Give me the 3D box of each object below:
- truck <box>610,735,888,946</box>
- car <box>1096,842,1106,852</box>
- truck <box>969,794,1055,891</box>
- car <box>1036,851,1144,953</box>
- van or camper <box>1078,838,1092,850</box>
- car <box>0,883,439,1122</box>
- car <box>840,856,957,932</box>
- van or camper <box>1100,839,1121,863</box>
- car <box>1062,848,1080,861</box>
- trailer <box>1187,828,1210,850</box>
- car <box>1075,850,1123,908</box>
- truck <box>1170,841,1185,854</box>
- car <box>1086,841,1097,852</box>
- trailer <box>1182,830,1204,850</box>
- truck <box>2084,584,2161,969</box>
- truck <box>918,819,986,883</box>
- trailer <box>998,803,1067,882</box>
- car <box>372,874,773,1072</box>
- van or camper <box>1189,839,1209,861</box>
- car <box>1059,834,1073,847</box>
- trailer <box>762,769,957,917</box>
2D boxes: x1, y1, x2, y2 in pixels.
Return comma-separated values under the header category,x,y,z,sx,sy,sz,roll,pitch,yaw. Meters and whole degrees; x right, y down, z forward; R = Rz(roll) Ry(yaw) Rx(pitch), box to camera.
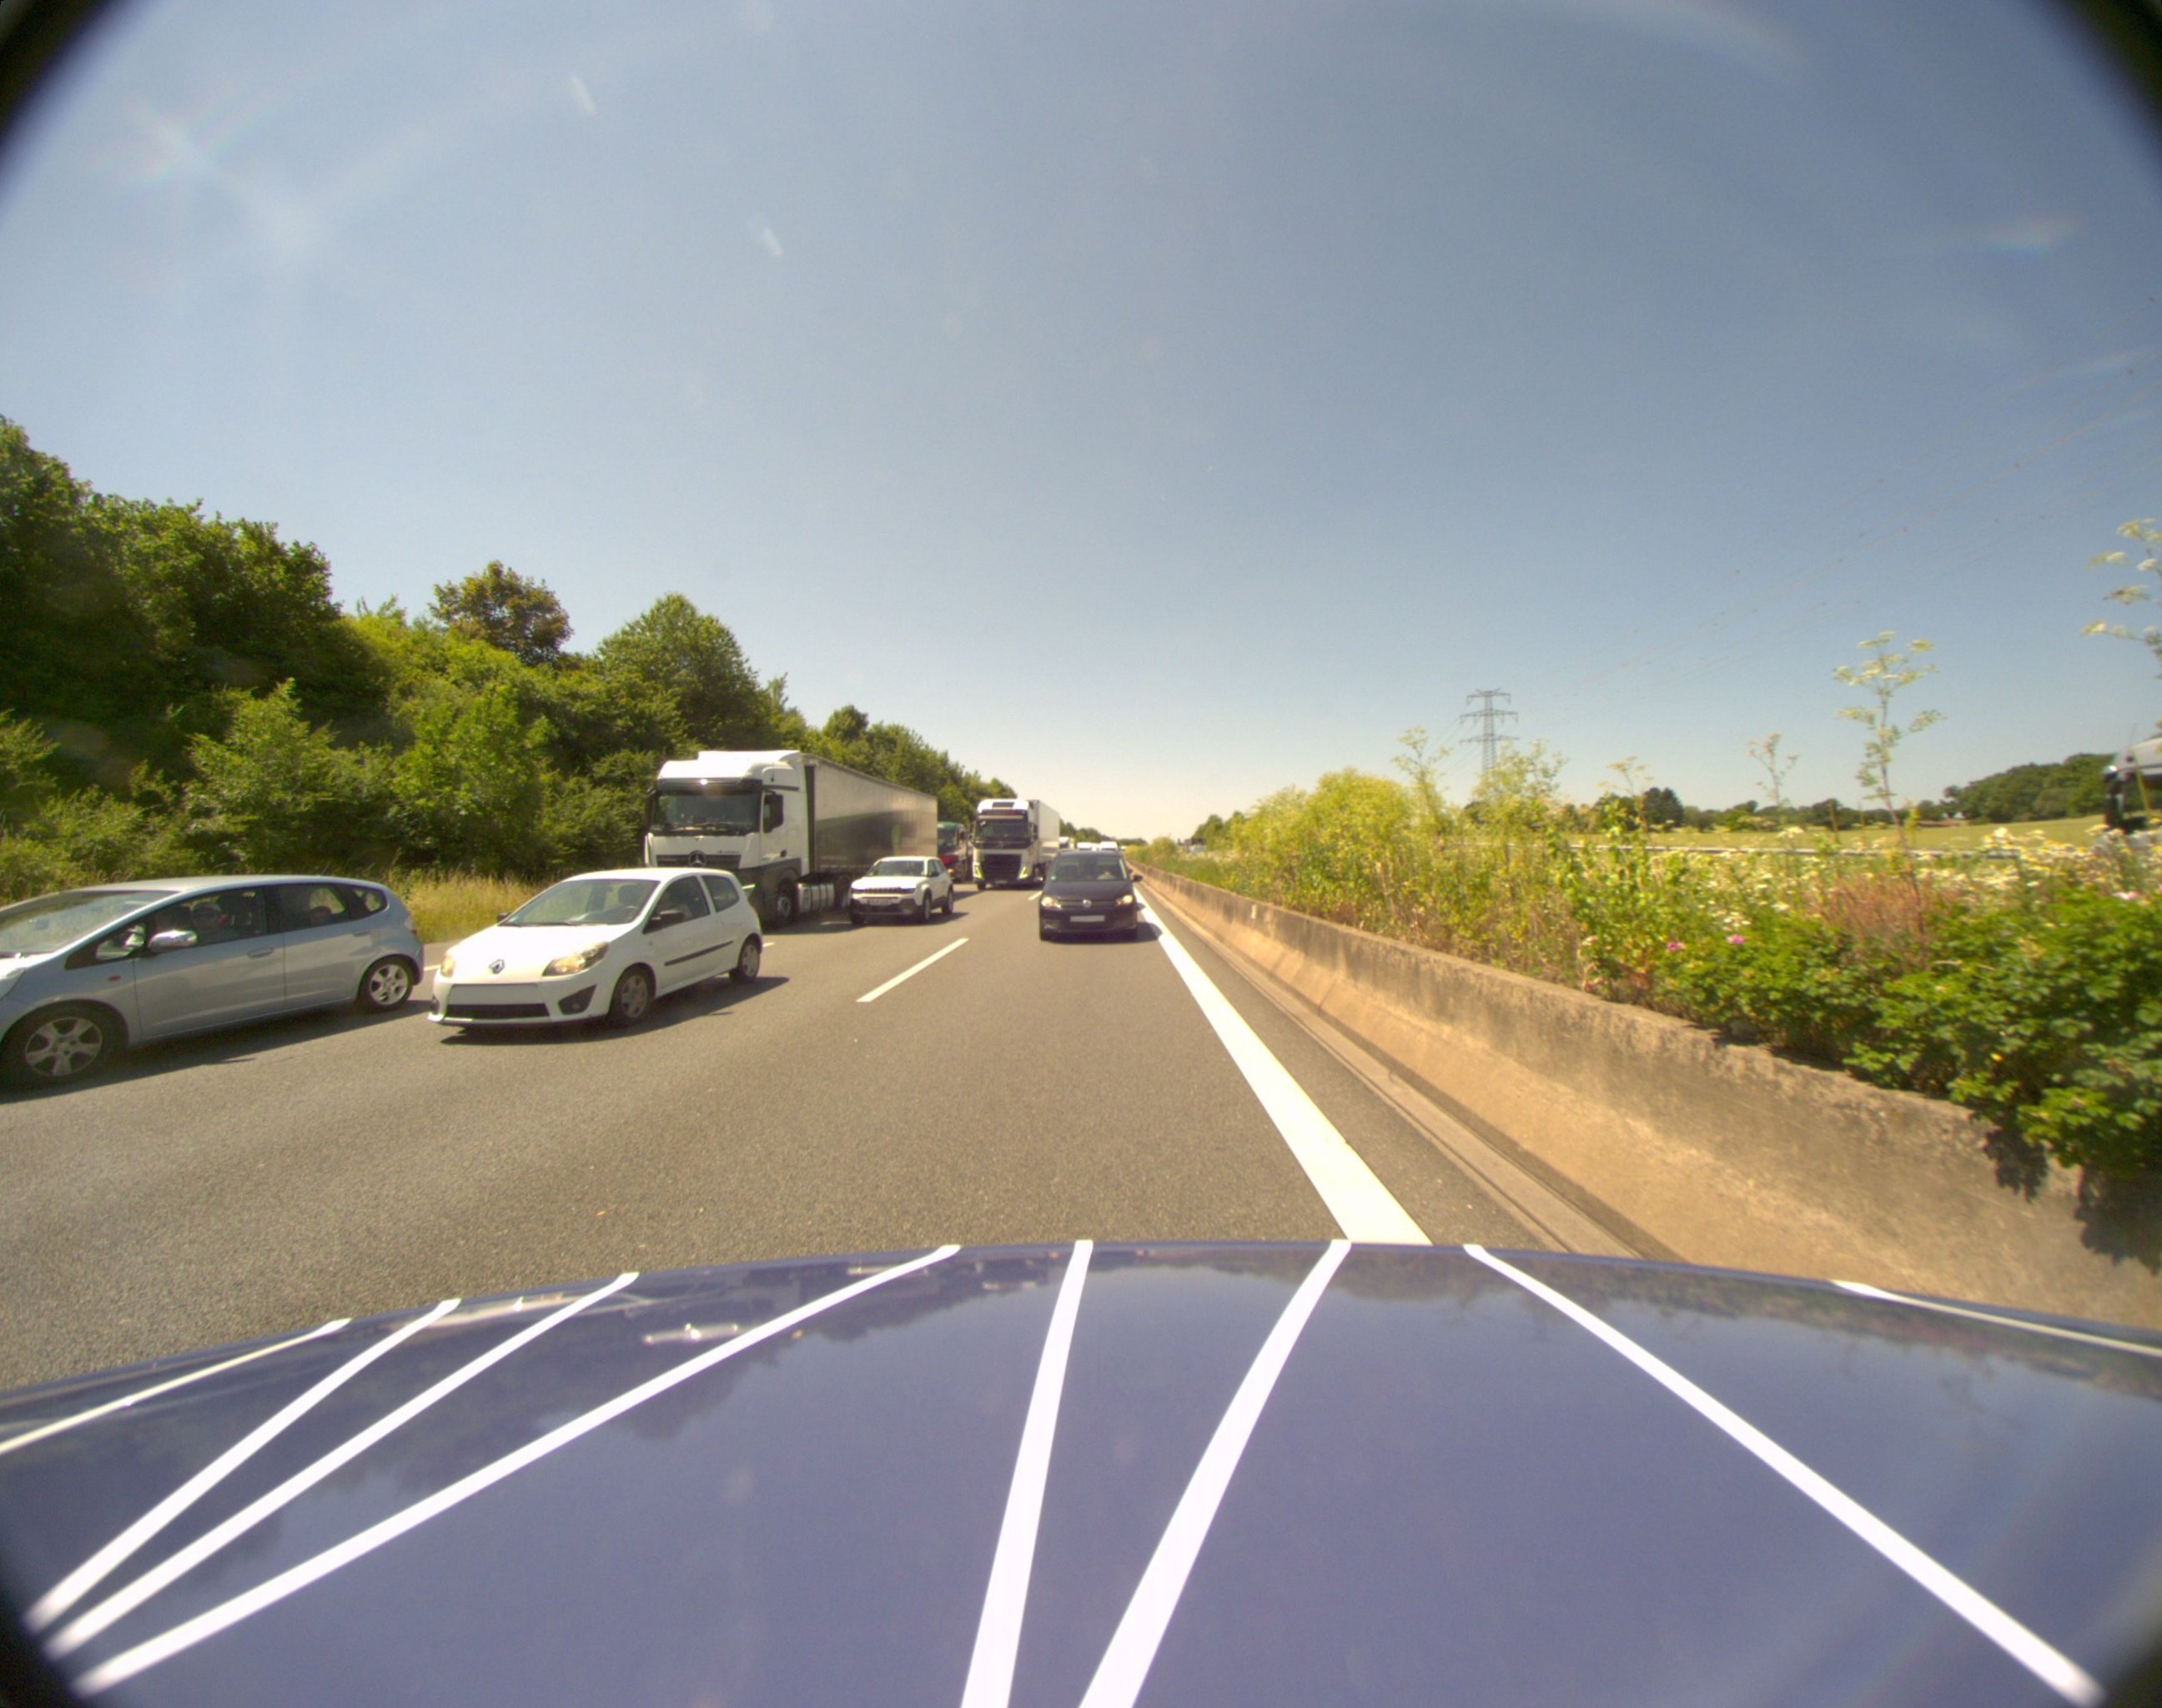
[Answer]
category,x,y,z,sx,sy,sz,roll,pitch,yaw
truck,-7.673,-0.318,19.330,2.879,4.133,8.475,-1,1,3
car,4.565,-1.609,171.612,1.998,2.302,4.229,-1,1,2
truck,-2.990,-0.533,35.653,2.750,3.972,8.361,-1,1,3
car,0.257,0.778,15.107,1.758,1.571,5.291,-1,1,2
van or camper,0.755,-1.836,133.747,2.189,2.018,4.364,-1,1,3
car,-8.155,1.079,6.646,1.666,1.453,3.922,0,1,1
car,-4.260,0.876,18.384,1.748,1.549,3.884,0,1,2
van or camper,3.059,-0.365,77.905,1.956,2.368,4.037,-2,1,3
car,-1.051,0.012,82.611,1.650,1.336,3.381,-1,1,3
trailer,21.348,-2.684,138.658,3.190,3.740,8.200,0,0,1
car,0.617,0.737,23.878,1.357,1.630,2.994,-2,1,3
truck,25.254,-1.758,199.464,2.771,3.269,11.820,-1,1,3
car,2.090,-1.500,151.669,1.998,2.302,4.229,-1,1,1
trailer,21.559,-2.688,146.653,3.132,3.737,7.869,-1,1,1
truck,15.723,-1.027,8.640,3.311,5.021,4.032,-1,1,1
truck,-6.749,-0.198,40.394,2.299,3.128,5.675,-1,1,3
trailer,-2.586,-0.654,43.533,2.776,3.951,9.156,-1,1,3
car,-4.918,1.024,8.095,1.609,1.426,3.809,0,1,2
van or camper,15.918,-0.565,102.984,2.053,2.843,4.649,-1,1,1
car,-2.498,-2.295,128.626,1.998,2.002,4.000,-1,1,2
trailer,-7.258,-0.396,27.572,2.879,4.133,12.076,-1,1,3
